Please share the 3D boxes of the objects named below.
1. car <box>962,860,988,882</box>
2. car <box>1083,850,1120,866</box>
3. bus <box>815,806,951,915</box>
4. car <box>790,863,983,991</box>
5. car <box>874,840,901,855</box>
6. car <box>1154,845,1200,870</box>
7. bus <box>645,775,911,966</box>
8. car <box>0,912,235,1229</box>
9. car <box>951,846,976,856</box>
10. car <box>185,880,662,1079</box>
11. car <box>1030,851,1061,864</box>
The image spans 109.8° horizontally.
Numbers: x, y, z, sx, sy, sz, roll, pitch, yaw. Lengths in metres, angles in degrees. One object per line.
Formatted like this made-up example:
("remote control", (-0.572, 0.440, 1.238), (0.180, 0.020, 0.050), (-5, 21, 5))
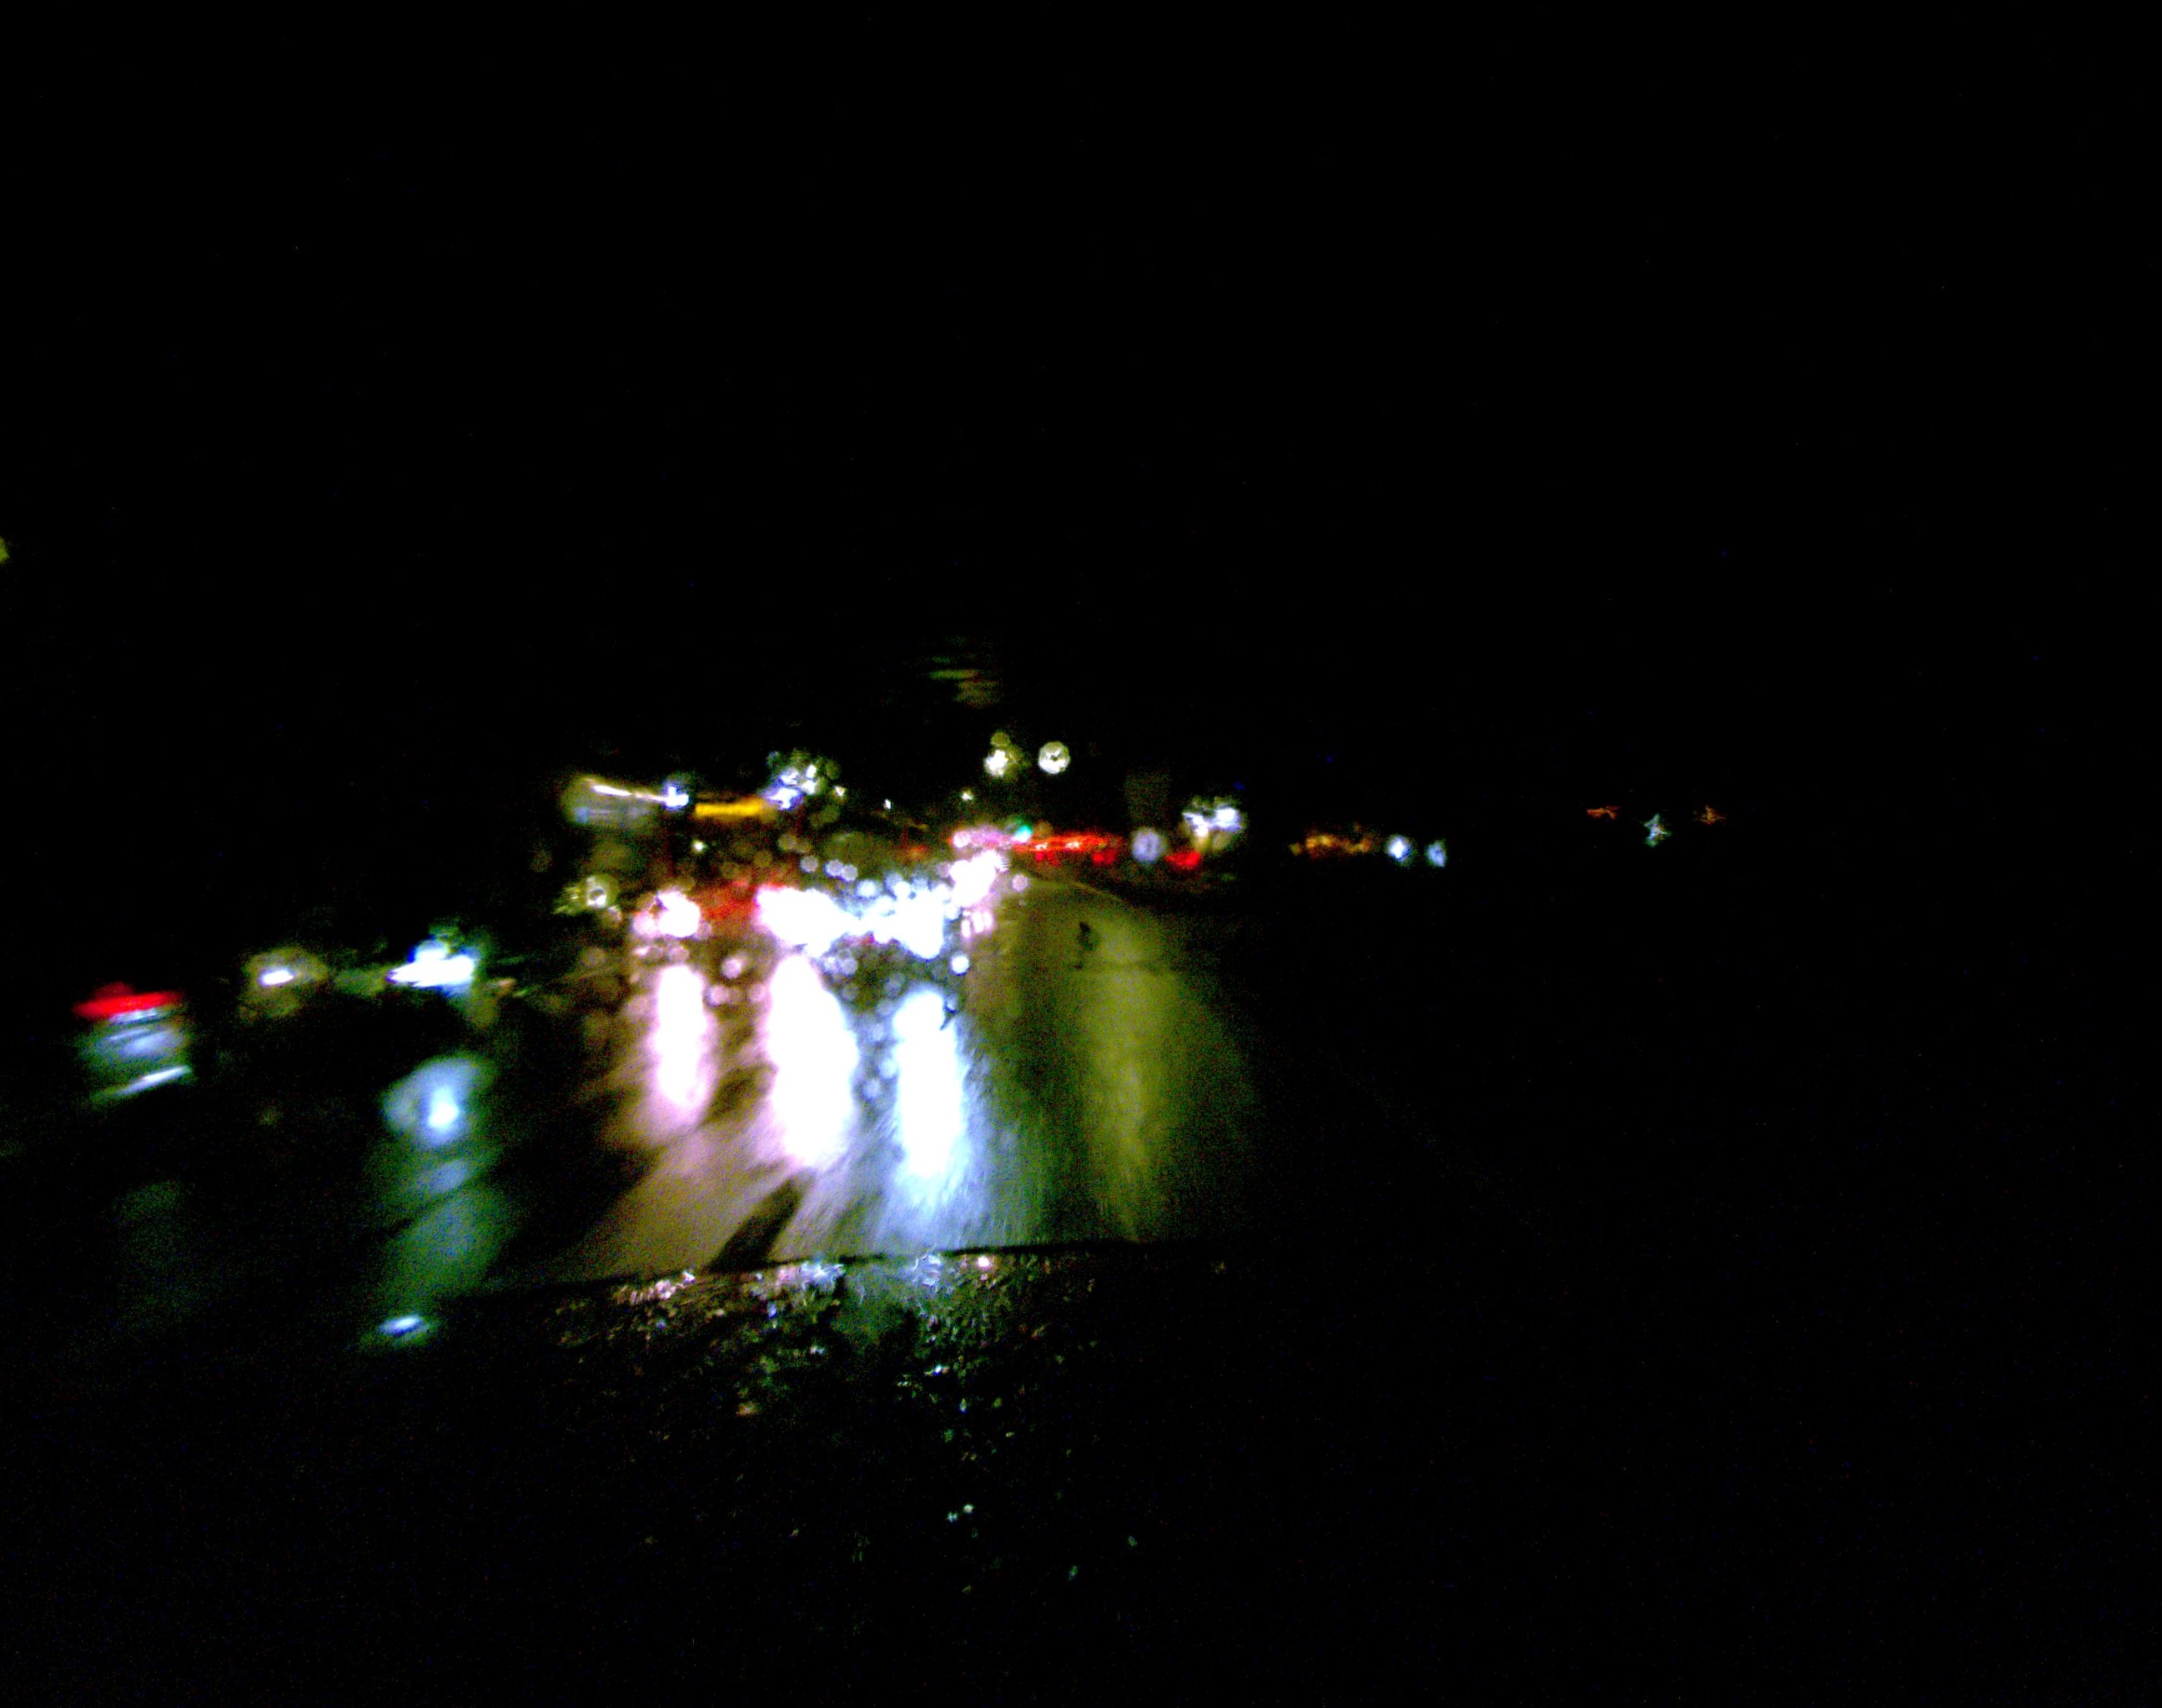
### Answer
("car", (-7.440, 1.144, 53.408), (1.756, 1.438, 3.970), (0, 1, -7))
("car", (1.912, 0.394, 72.467), (1.903, 1.381, 4.604), (-2, 1, -19))
("bus", (-6.793, 0.153, 27.795), (2.741, 3.219, 9.696), (-2, 1, -3))
("car", (-2.823, 0.988, 12.062), (1.724, 1.478, 4.162), (-5, 0, 2))
("car", (-19.775, -0.630, 77.516), (1.711, 1.382, 3.991), (-2, 1, -29))
("car", (6.454, 0.222, 51.601), (1.602, 1.528, 4.306), (-2, 1, -14))
("bus", (-6.352, 0.238, 18.111), (2.741, 3.258, 9.696), (-2, 1, -3))
("car", (-6.244, 1.125, 2.360), (1.724, 1.478, 4.787), (-1, 0, 2))
("car", (-16.505, -0.383, 106.560), (1.904, 1.381, 4.830), (-2, 1, -27))
("car", (-6.626, 1.121, 8.426), (1.724, 1.478, 4.161), (0, 1, -1))
("car", (-4.038, 0.421, 85.613), (1.903, 1.381, 4.831), (-2, 1, -23))
